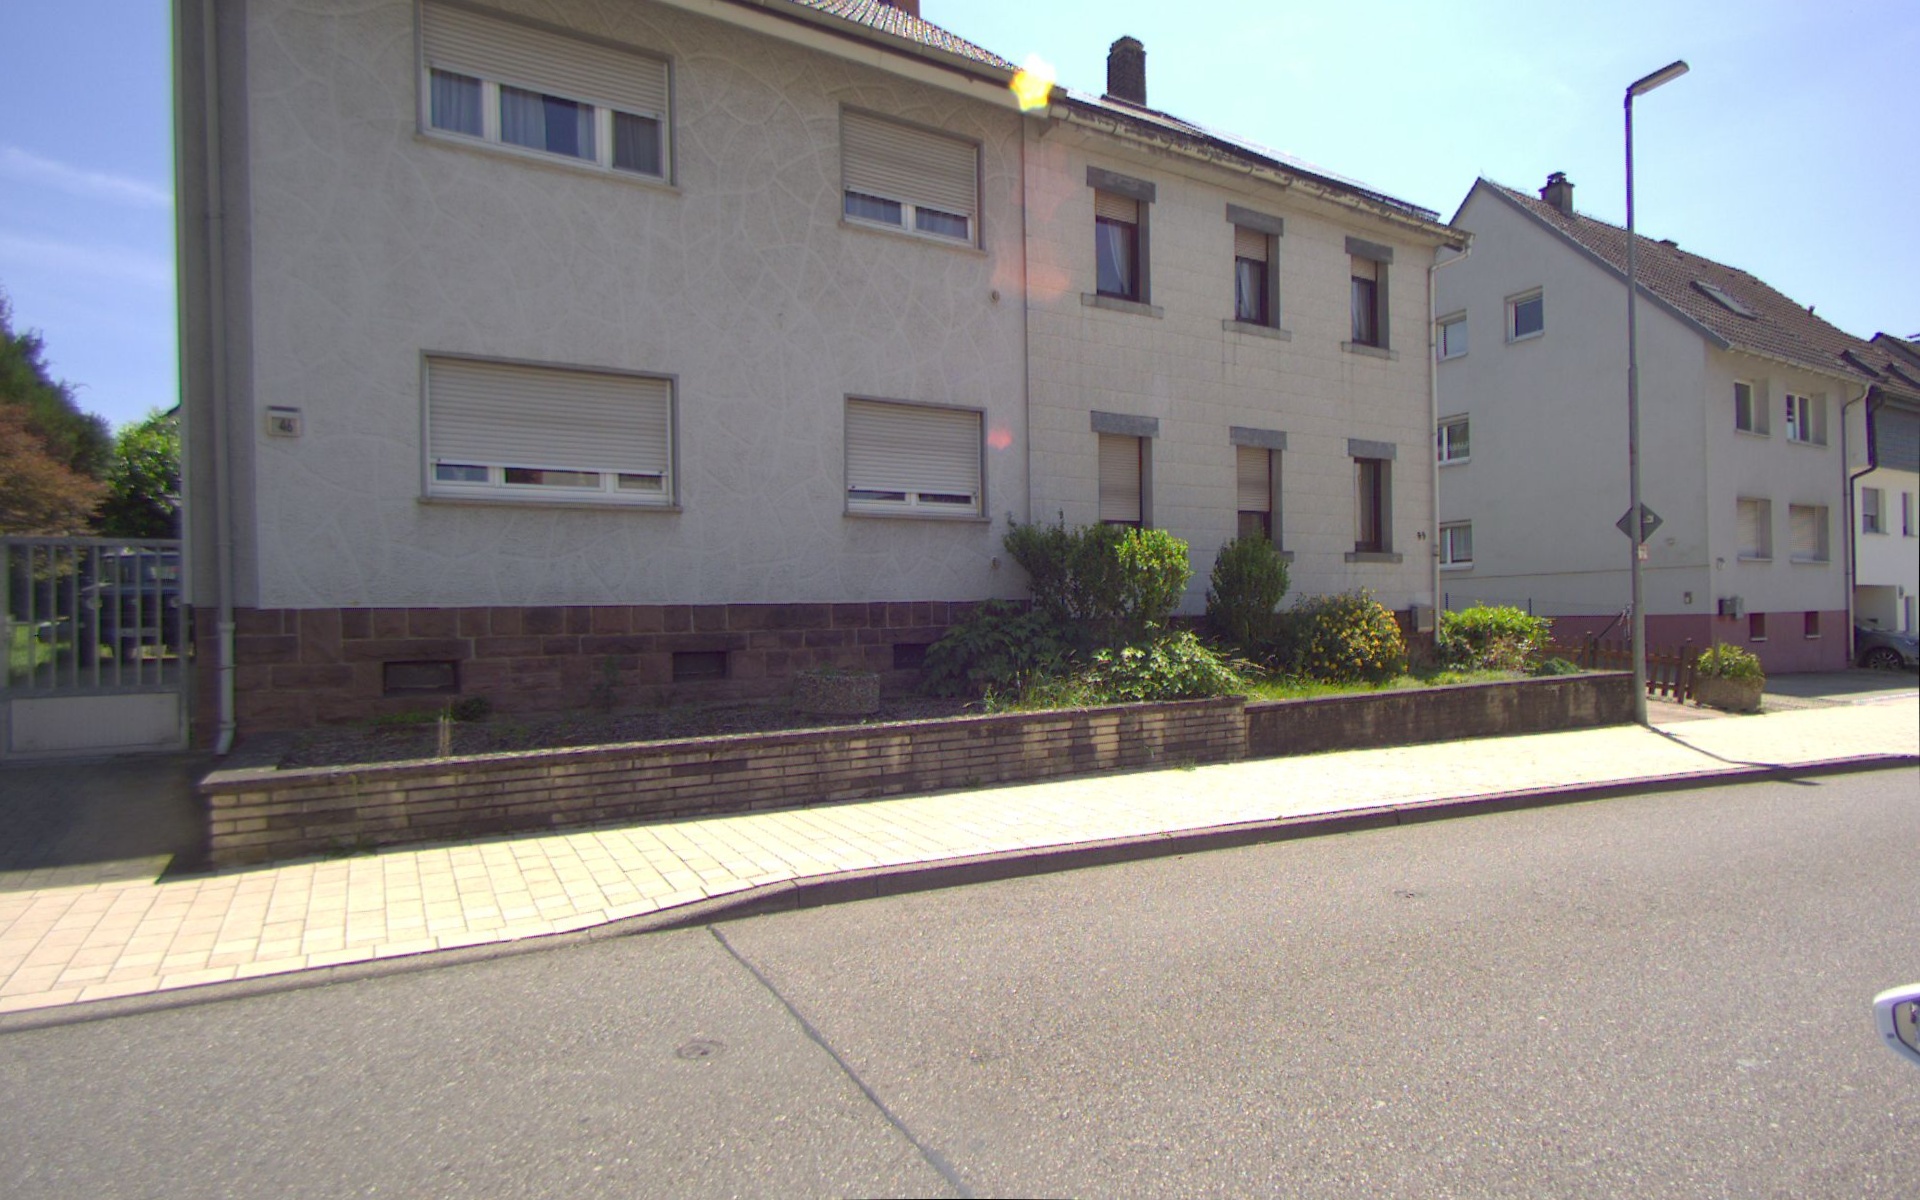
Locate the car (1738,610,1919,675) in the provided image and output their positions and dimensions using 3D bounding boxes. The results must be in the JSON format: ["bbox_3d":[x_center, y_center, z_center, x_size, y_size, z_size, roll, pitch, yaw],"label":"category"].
[{"bbox_3d":[22.937,1.037,26.091,1.811,1.566,3.968,0,-1,-30],"label":"car"}]

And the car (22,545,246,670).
[{"bbox_3d":[-12.874,0.126,15.977,1.976,1.691,4.324,1,-1,-29],"label":"car"}]
